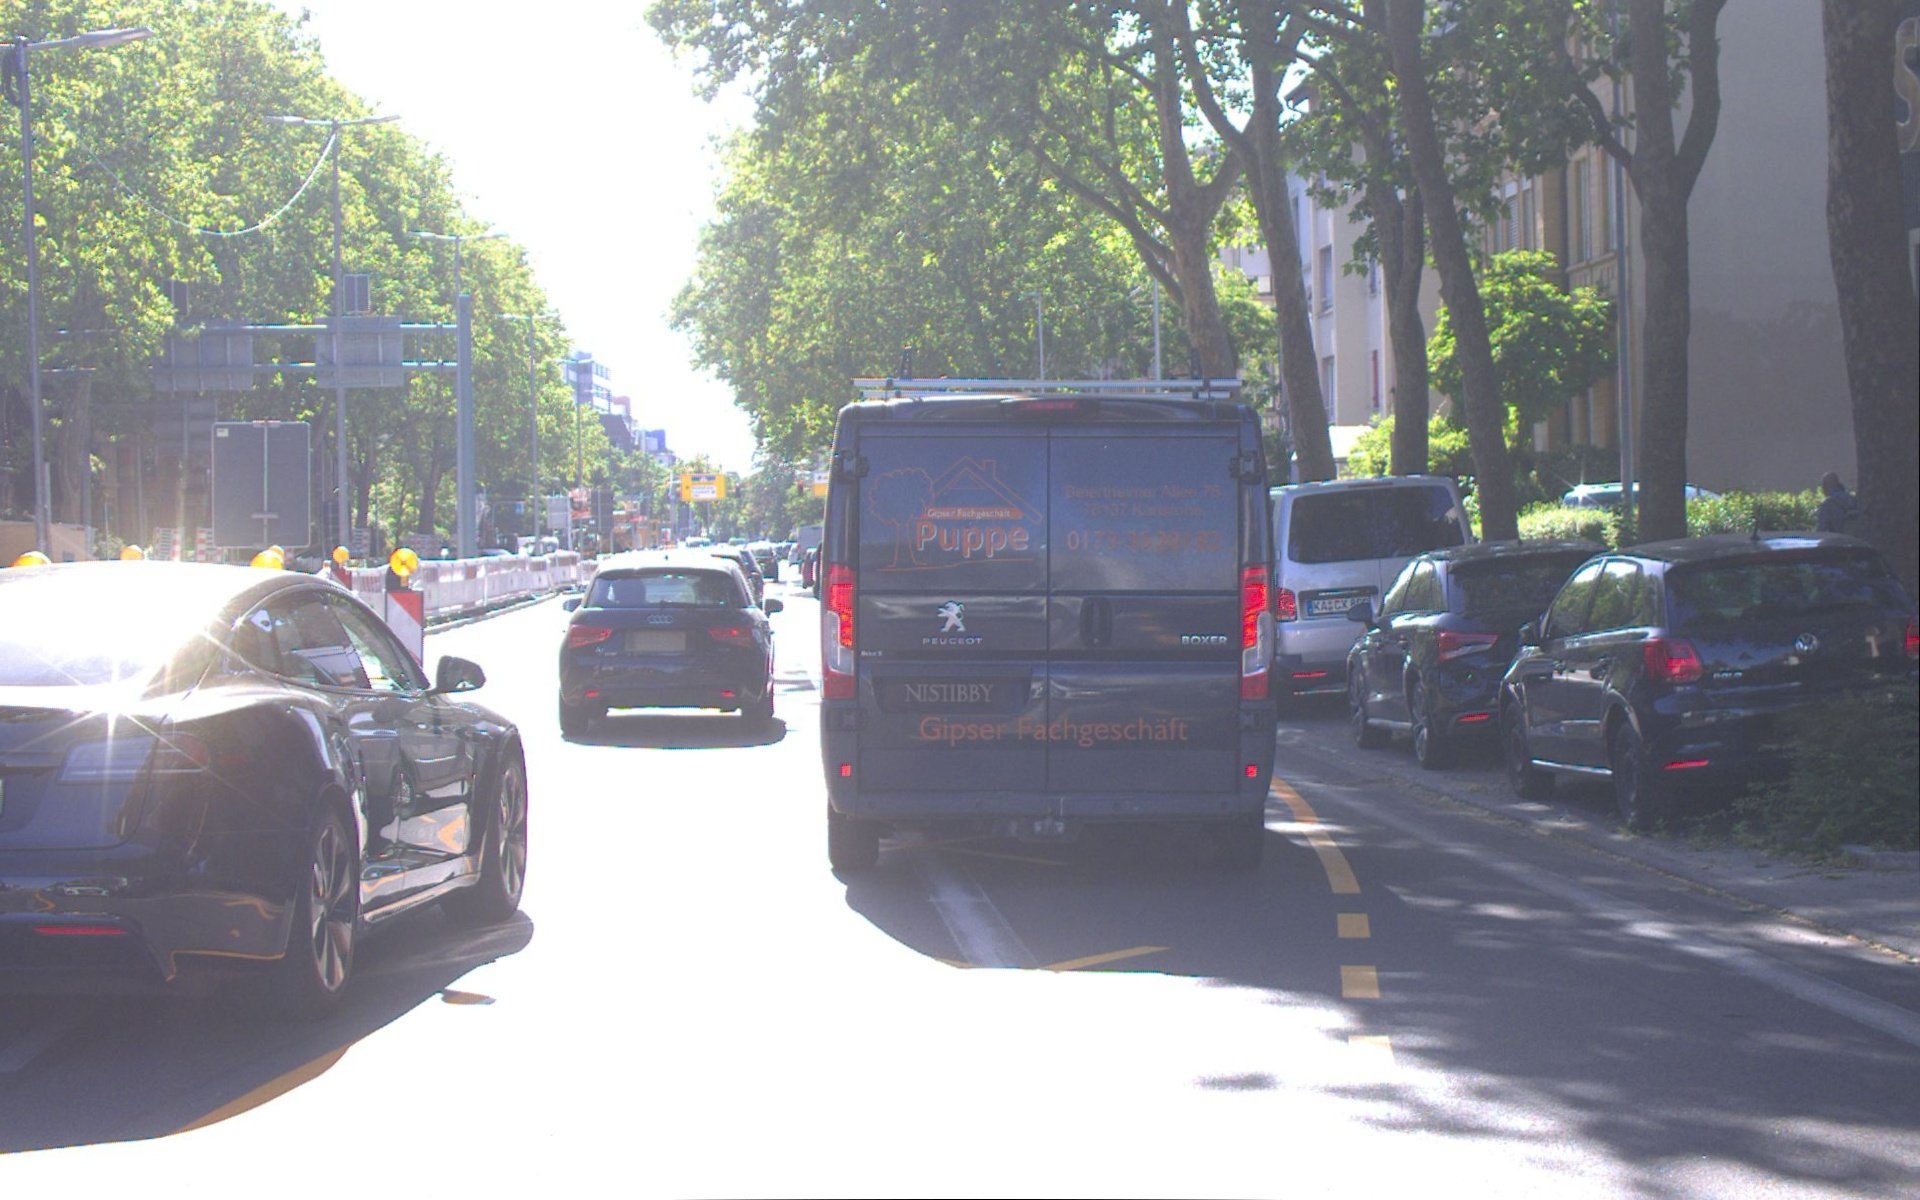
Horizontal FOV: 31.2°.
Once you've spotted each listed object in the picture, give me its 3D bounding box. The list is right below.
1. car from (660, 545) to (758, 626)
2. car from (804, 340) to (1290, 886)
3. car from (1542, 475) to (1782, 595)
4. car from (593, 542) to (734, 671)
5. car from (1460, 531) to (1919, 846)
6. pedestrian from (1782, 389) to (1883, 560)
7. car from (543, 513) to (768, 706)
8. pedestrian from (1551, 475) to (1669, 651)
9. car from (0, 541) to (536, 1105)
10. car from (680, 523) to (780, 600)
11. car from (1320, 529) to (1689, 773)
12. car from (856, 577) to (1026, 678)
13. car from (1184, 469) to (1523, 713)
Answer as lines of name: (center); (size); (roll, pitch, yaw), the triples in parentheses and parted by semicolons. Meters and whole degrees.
car: (-3.979, -0.241, 54.799); (1.421, 1.221, 3.438); (-1, 1, -2)
car: (0.320, 0.000, 16.822); (2.095, 2.347, 3.933); (0, 2, -2)
car: (11.154, -1.041, 54.794); (1.704, 1.847, 3.507); (-1, 1, -36)
car: (-3.422, 0.047, 40.007); (1.547, 1.420, 3.555); (-1, 1, -4)
car: (4.055, 0.391, 18.789); (1.763, 1.503, 4.251); (-1, 1, -4)
pedestrian: (8.600, -1.242, 33.892); (0.705, 1.643, 0.675); (1, 3, -6)
car: (-2.555, 0.029, 28.841); (1.746, 1.402, 4.001); (0, 3, -5)
pedestrian: (6.050, -0.350, 32.070); (0.727, 1.597, 1.267); (-1, 1, -6)
car: (-2.848, 0.592, 12.054); (1.925, 1.407, 4.626); (2, 3, 3)
car: (-4.976, -0.834, 74.858); (1.993, 1.583, 4.000); (-1, 1, -2)
car: (3.657, 0.290, 23.765); (1.657, 1.535, 4.129); (0, 1, -4)
car: (-0.305, 0.344, 46.782); (1.993, 1.245, 4.001); (-1, 1, -5)
car: (3.362, -0.118, 30.444); (2.025, 1.940, 5.274); (-1, 1, -4)
